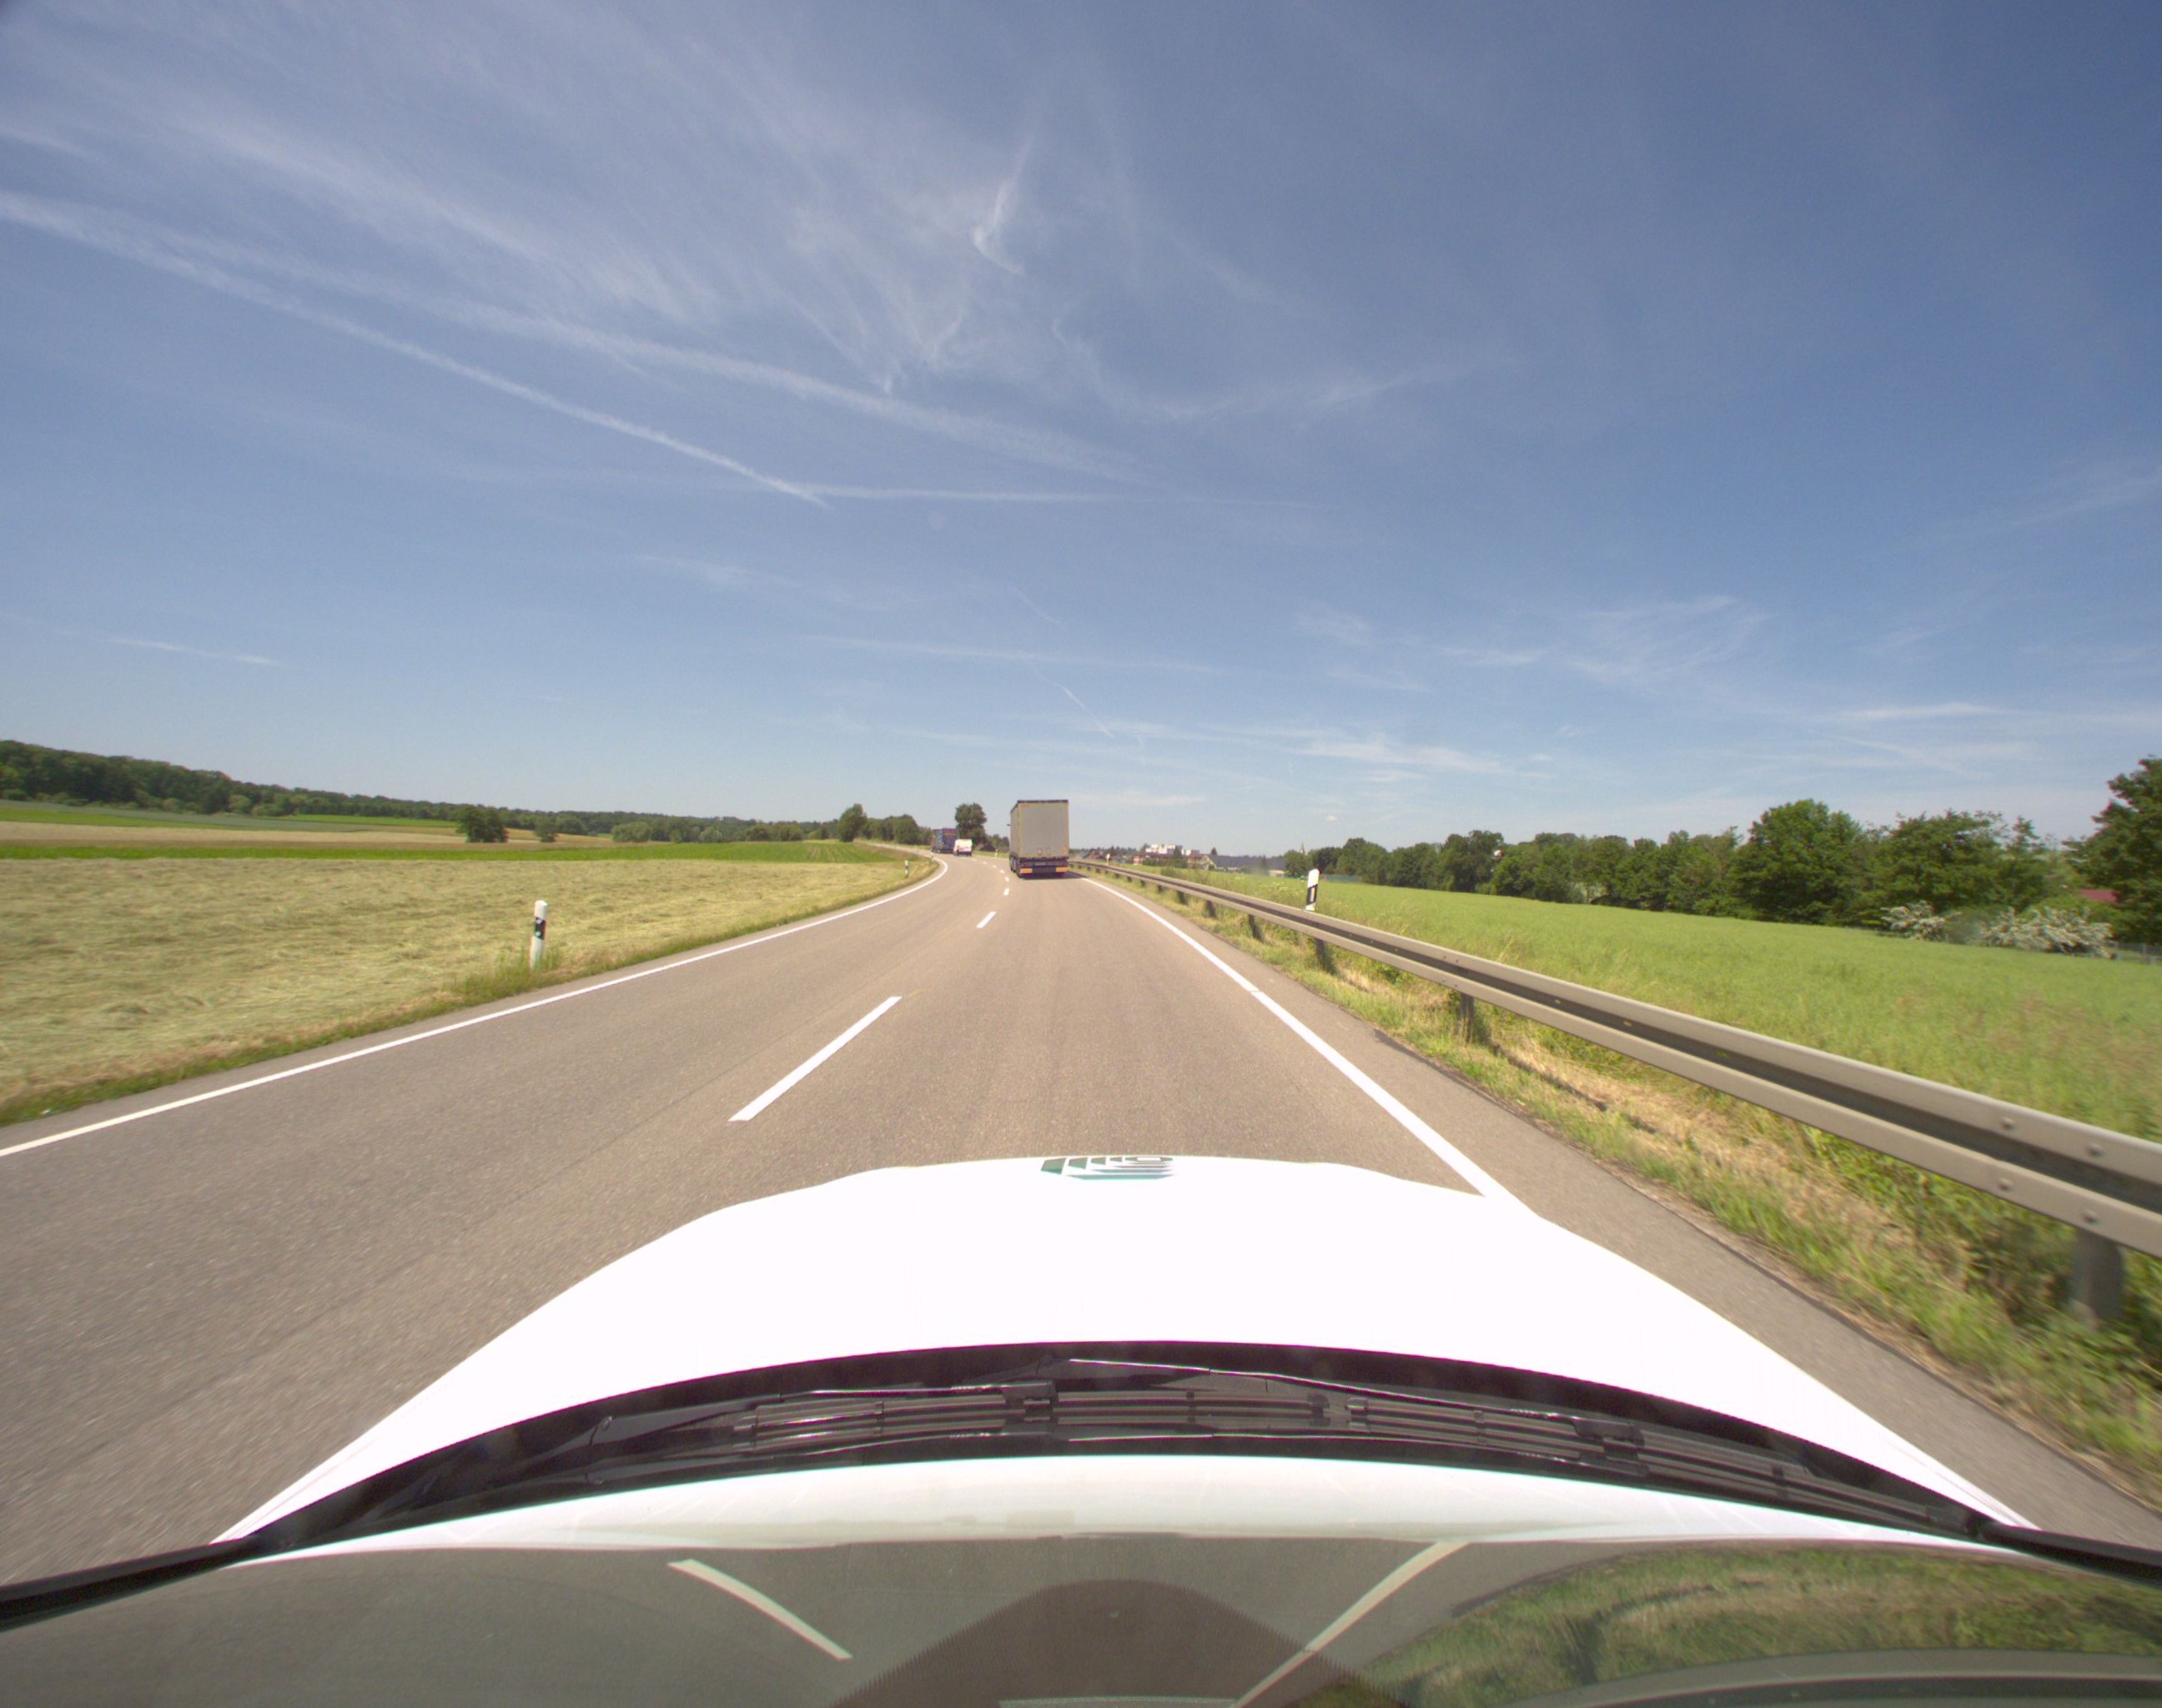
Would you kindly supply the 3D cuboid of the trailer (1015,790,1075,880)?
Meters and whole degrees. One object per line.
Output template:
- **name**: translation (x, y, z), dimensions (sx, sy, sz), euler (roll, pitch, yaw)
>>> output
- **trailer**: translation (-2.313, -1.022, 47.095), dimensions (2.862, 4.400, 13.469), euler (-1, 1, -5)

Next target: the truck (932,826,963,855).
- **truck**: translation (-22.270, -2.062, 134.934), dimensions (3.554, 4.392, 18.036), euler (1, 0, -14)

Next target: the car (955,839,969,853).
- **car**: translation (-16.190, -1.034, 111.036), dimensions (1.726, 1.872, 3.986), euler (0, 1, -11)
